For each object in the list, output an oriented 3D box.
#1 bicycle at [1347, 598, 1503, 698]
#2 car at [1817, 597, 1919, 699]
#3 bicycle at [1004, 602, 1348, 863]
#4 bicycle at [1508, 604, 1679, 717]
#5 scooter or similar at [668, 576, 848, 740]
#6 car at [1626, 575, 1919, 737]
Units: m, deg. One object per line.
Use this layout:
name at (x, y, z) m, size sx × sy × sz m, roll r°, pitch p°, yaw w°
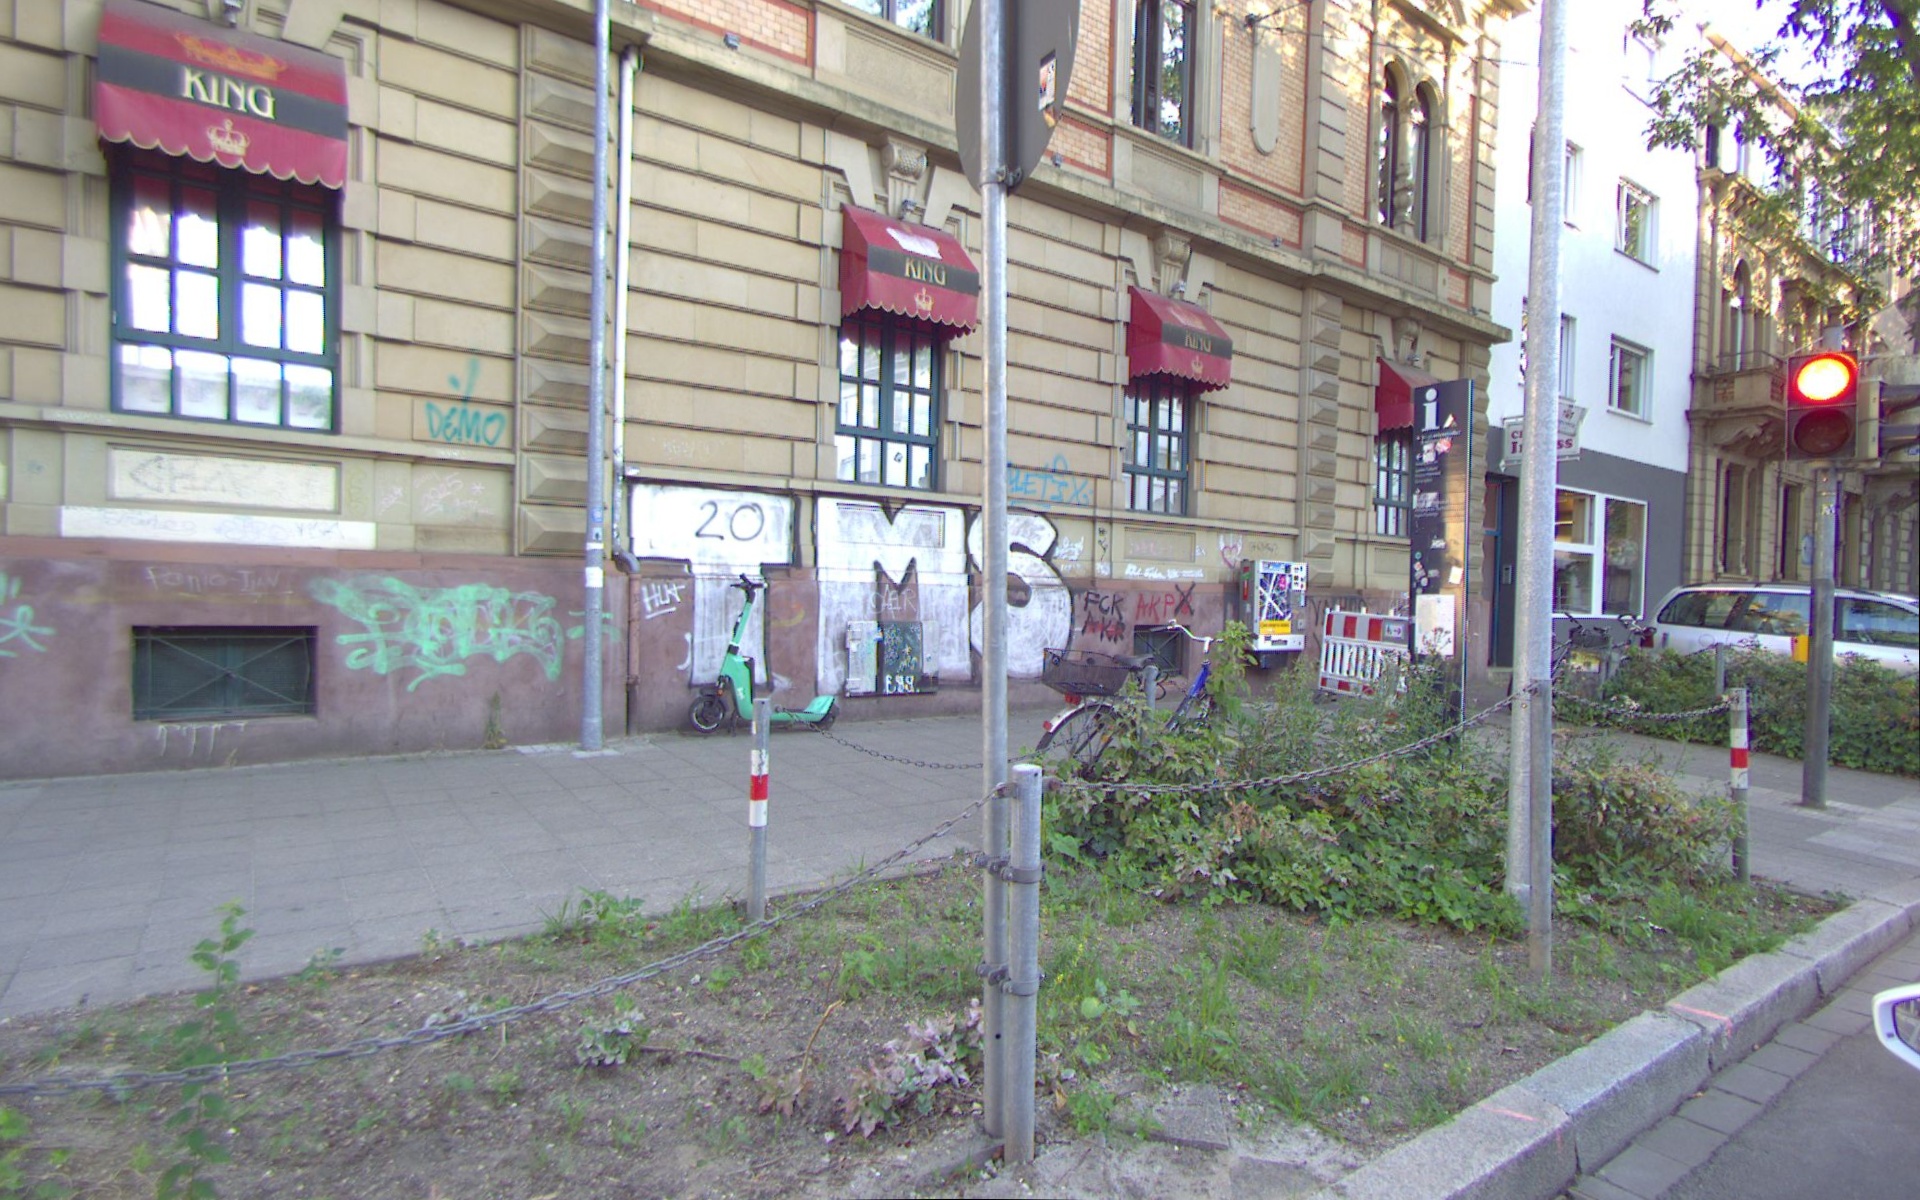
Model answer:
bicycle at (6.164, 0.608, 13.241) m, size 2.537 × 1.218 × 0.632 m, roll 1°, pitch 0°, yaw -34°
car at (17.571, 0.854, 16.869) m, size 1.814 × 1.711 × 4.519 m, roll 1°, pitch 0°, yaw -34°
bicycle at (1.225, 0.614, 5.388) m, size 2.081 × 1.169 × 0.507 m, roll 1°, pitch 3°, yaw -36°
bicycle at (7.640, 0.686, 12.057) m, size 2.608 × 1.202 × 0.729 m, roll 1°, pitch 2°, yaw -35°
scooter or similar at (-1.551, 0.432, 7.737) m, size 1.269 × 1.184 × 0.437 m, roll 1°, pitch 2°, yaw -24°
car at (11.354, 0.650, 12.723) m, size 1.816 × 1.859 × 4.513 m, roll 1°, pitch 0°, yaw -37°
